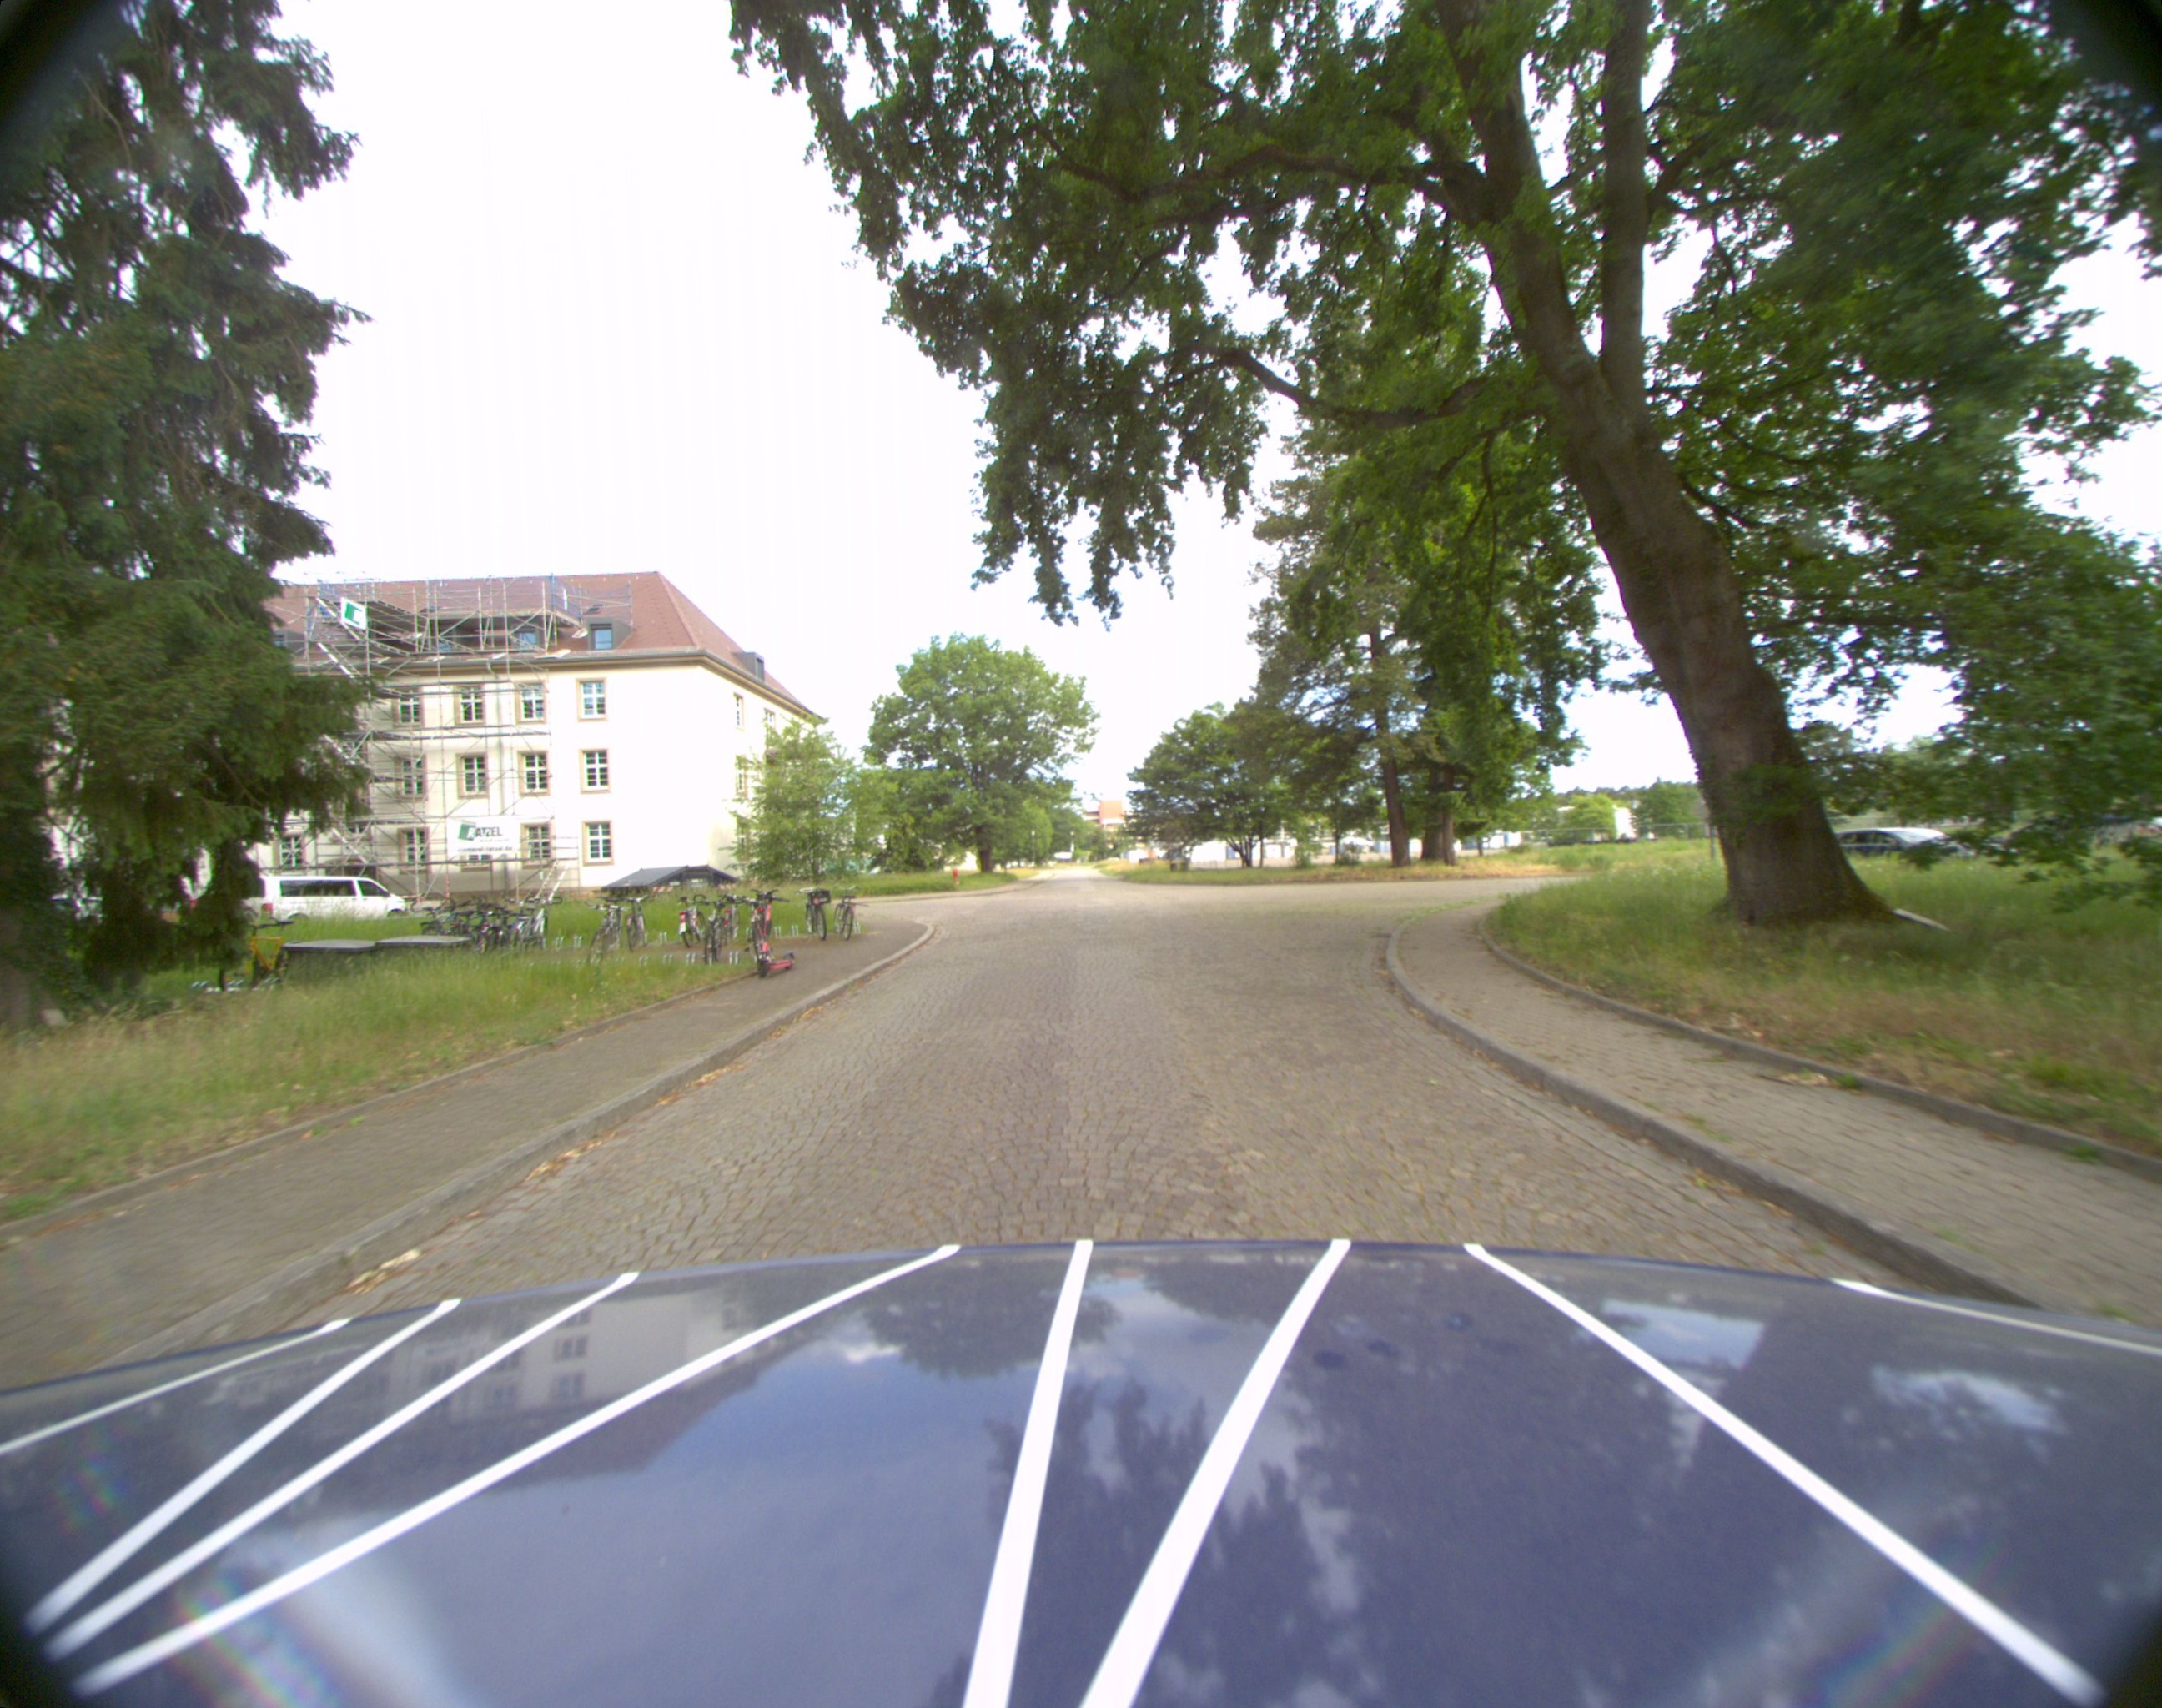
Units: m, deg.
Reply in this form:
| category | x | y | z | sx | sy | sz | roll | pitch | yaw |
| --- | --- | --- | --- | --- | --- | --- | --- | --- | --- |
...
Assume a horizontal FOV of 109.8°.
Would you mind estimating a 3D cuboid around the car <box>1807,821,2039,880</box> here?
| category | x | y | z | sx | sy | sz | roll | pitch | yaw |
| --- | --- | --- | --- | --- | --- | --- | --- | --- | --- |
| car | 23.355 | -0.056 | 21.383 | 1.762 | 1.396 | 4.356 | -3 | -1 | 3 |

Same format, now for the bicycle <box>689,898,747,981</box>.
| category | x | y | z | sx | sy | sz | roll | pitch | yaw |
| --- | --- | --- | --- | --- | --- | --- | --- | --- | --- |
| bicycle | -5.779 | 1.323 | 12.177 | 0.552 | 1.108 | 1.802 | -3 | 0 | -18 |

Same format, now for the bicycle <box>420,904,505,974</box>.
| category | x | y | z | sx | sy | sz | roll | pitch | yaw |
| --- | --- | --- | --- | --- | --- | --- | --- | --- | --- |
| bicycle | -11.464 | 1.536 | 14.148 | 0.442 | 1.105 | 1.650 | -3 | 0 | -10 |

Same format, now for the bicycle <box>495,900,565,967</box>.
| category | x | y | z | sx | sy | sz | roll | pitch | yaw |
| --- | --- | --- | --- | --- | --- | --- | --- | --- | --- |
| bicycle | -10.579 | 1.488 | 14.651 | 0.478 | 1.105 | 1.763 | -3 | 0 | -16 |

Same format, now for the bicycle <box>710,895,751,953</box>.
| category | x | y | z | sx | sy | sz | roll | pitch | yaw |
| --- | --- | --- | --- | --- | --- | --- | --- | --- | --- |
| bicycle | -7.175 | 1.401 | 15.607 | 0.478 | 1.002 | 1.665 | -3 | 2 | -16 |

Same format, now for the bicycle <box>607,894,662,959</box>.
| category | x | y | z | sx | sy | sz | roll | pitch | yaw |
| --- | --- | --- | --- | --- | --- | --- | --- | --- | --- |
| bicycle | -8.805 | 1.398 | 15.042 | 0.478 | 1.105 | 1.763 | -3 | 0 | -16 |

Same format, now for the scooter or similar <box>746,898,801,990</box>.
| category | x | y | z | sx | sy | sz | roll | pitch | yaw |
| --- | --- | --- | --- | --- | --- | --- | --- | --- | --- |
| scooter or similar | -4.487 | 1.285 | 11.154 | 0.357 | 1.202 | 1.137 | -3 | 0 | -4 |

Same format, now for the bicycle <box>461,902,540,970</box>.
| category | x | y | z | sx | sy | sz | roll | pitch | yaw |
| --- | --- | --- | --- | --- | --- | --- | --- | --- | --- |
| bicycle | -10.974 | 1.513 | 14.418 | 0.442 | 1.105 | 1.650 | -3 | 0 | -10 |

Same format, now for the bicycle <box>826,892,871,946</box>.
| category | x | y | z | sx | sy | sz | roll | pitch | yaw |
| --- | --- | --- | --- | --- | --- | --- | --- | --- | --- |
| bicycle | -4.983 | 1.355 | 16.222 | 0.478 | 1.002 | 1.618 | -4 | 2 | -31 |

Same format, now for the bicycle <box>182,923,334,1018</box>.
| category | x | y | z | sx | sy | sz | roll | pitch | yaw |
| --- | --- | --- | --- | --- | --- | --- | --- | --- | --- |
| bicycle | -11.255 | 1.552 | 10.476 | 0.552 | 1.036 | 1.681 | -3 | 0 | -14 |

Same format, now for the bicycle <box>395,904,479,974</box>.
| category | x | y | z | sx | sy | sz | roll | pitch | yaw |
| --- | --- | --- | --- | --- | --- | --- | --- | --- | --- |
| bicycle | -12.063 | 1.563 | 14.293 | 0.478 | 1.105 | 1.763 | -3 | 0 | -16 |

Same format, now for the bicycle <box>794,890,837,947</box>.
| category | x | y | z | sx | sy | sz | roll | pitch | yaw |
| --- | --- | --- | --- | --- | --- | --- | --- | --- | --- |
| bicycle | -5.692 | 1.352 | 16.245 | 0.478 | 1.068 | 1.618 | -4 | 2 | -31 |

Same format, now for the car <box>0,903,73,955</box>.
| category | x | y | z | sx | sy | sz | roll | pitch | yaw |
| --- | --- | --- | --- | --- | --- | --- | --- | --- | --- |
| car | -35.048 | 2.465 | 24.260 | 1.330 | 1.556 | 3.249 | -3 | 0 | 0 |

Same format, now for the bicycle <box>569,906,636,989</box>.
| category | x | y | z | sx | sy | sz | roll | pitch | yaw |
| --- | --- | --- | --- | --- | --- | --- | --- | --- | --- |
| bicycle | -7.390 | 1.399 | 11.798 | 0.619 | 1.059 | 1.822 | -3 | 0 | -26 |

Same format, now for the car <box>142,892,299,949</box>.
| category | x | y | z | sx | sy | sz | roll | pitch | yaw |
| --- | --- | --- | --- | --- | --- | --- | --- | --- | --- |
| car | -27.810 | 2.108 | 24.704 | 1.310 | 1.518 | 3.249 | -3 | 0 | 0 |

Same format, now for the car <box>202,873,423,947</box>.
| category | x | y | z | sx | sy | sz | roll | pitch | yaw |
| --- | --- | --- | --- | --- | --- | --- | --- | --- | --- |
| car | -25.363 | 1.739 | 25.465 | 1.967 | 1.985 | 5.276 | -3 | 0 | 0 |

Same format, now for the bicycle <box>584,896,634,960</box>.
| category | x | y | z | sx | sy | sz | roll | pitch | yaw |
| --- | --- | --- | --- | --- | --- | --- | --- | --- | --- |
| bicycle | -9.339 | 1.426 | 15.083 | 0.478 | 1.105 | 1.762 | -3 | 0 | -22 |

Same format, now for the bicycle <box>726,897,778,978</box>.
| category | x | y | z | sx | sy | sz | roll | pitch | yaw |
| --- | --- | --- | --- | --- | --- | --- | --- | --- | --- |
| bicycle | -5.327 | 1.312 | 12.384 | 0.552 | 1.108 | 1.767 | -3 | 0 | -18 |

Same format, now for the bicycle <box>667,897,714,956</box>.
| category | x | y | z | sx | sy | sz | roll | pitch | yaw |
| --- | --- | --- | --- | --- | --- | --- | --- | --- | --- |
| bicycle | -7.947 | 1.441 | 15.520 | 0.478 | 1.002 | 1.665 | -3 | 2 | -16 |

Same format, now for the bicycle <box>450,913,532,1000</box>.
| category | x | y | z | sx | sy | sz | roll | pitch | yaw |
| --- | --- | --- | --- | --- | --- | --- | --- | --- | --- |
| bicycle | -8.724 | 1.465 | 11.289 | 0.552 | 1.059 | 1.751 | -3 | 0 | -26 |

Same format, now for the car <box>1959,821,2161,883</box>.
| category | x | y | z | sx | sy | sz | roll | pitch | yaw |
| --- | --- | --- | --- | --- | --- | --- | --- | --- | --- |
| car | 28.096 | -0.058 | 21.317 | 1.763 | 1.552 | 4.366 | -3 | -1 | -1 |

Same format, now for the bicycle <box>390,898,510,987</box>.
| category | x | y | z | sx | sy | sz | roll | pitch | yaw |
| --- | --- | --- | --- | --- | --- | --- | --- | --- | --- |
| bicycle | -9.817 | 1.341 | 11.910 | 0.551 | 1.164 | 1.753 | -3 | 0 | -8 |

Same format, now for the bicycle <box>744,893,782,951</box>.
| category | x | y | z | sx | sy | sz | roll | pitch | yaw |
| --- | --- | --- | --- | --- | --- | --- | --- | --- | --- |
| bicycle | -6.564 | 1.370 | 15.719 | 0.478 | 1.002 | 1.665 | -3 | 2 | -16 |
